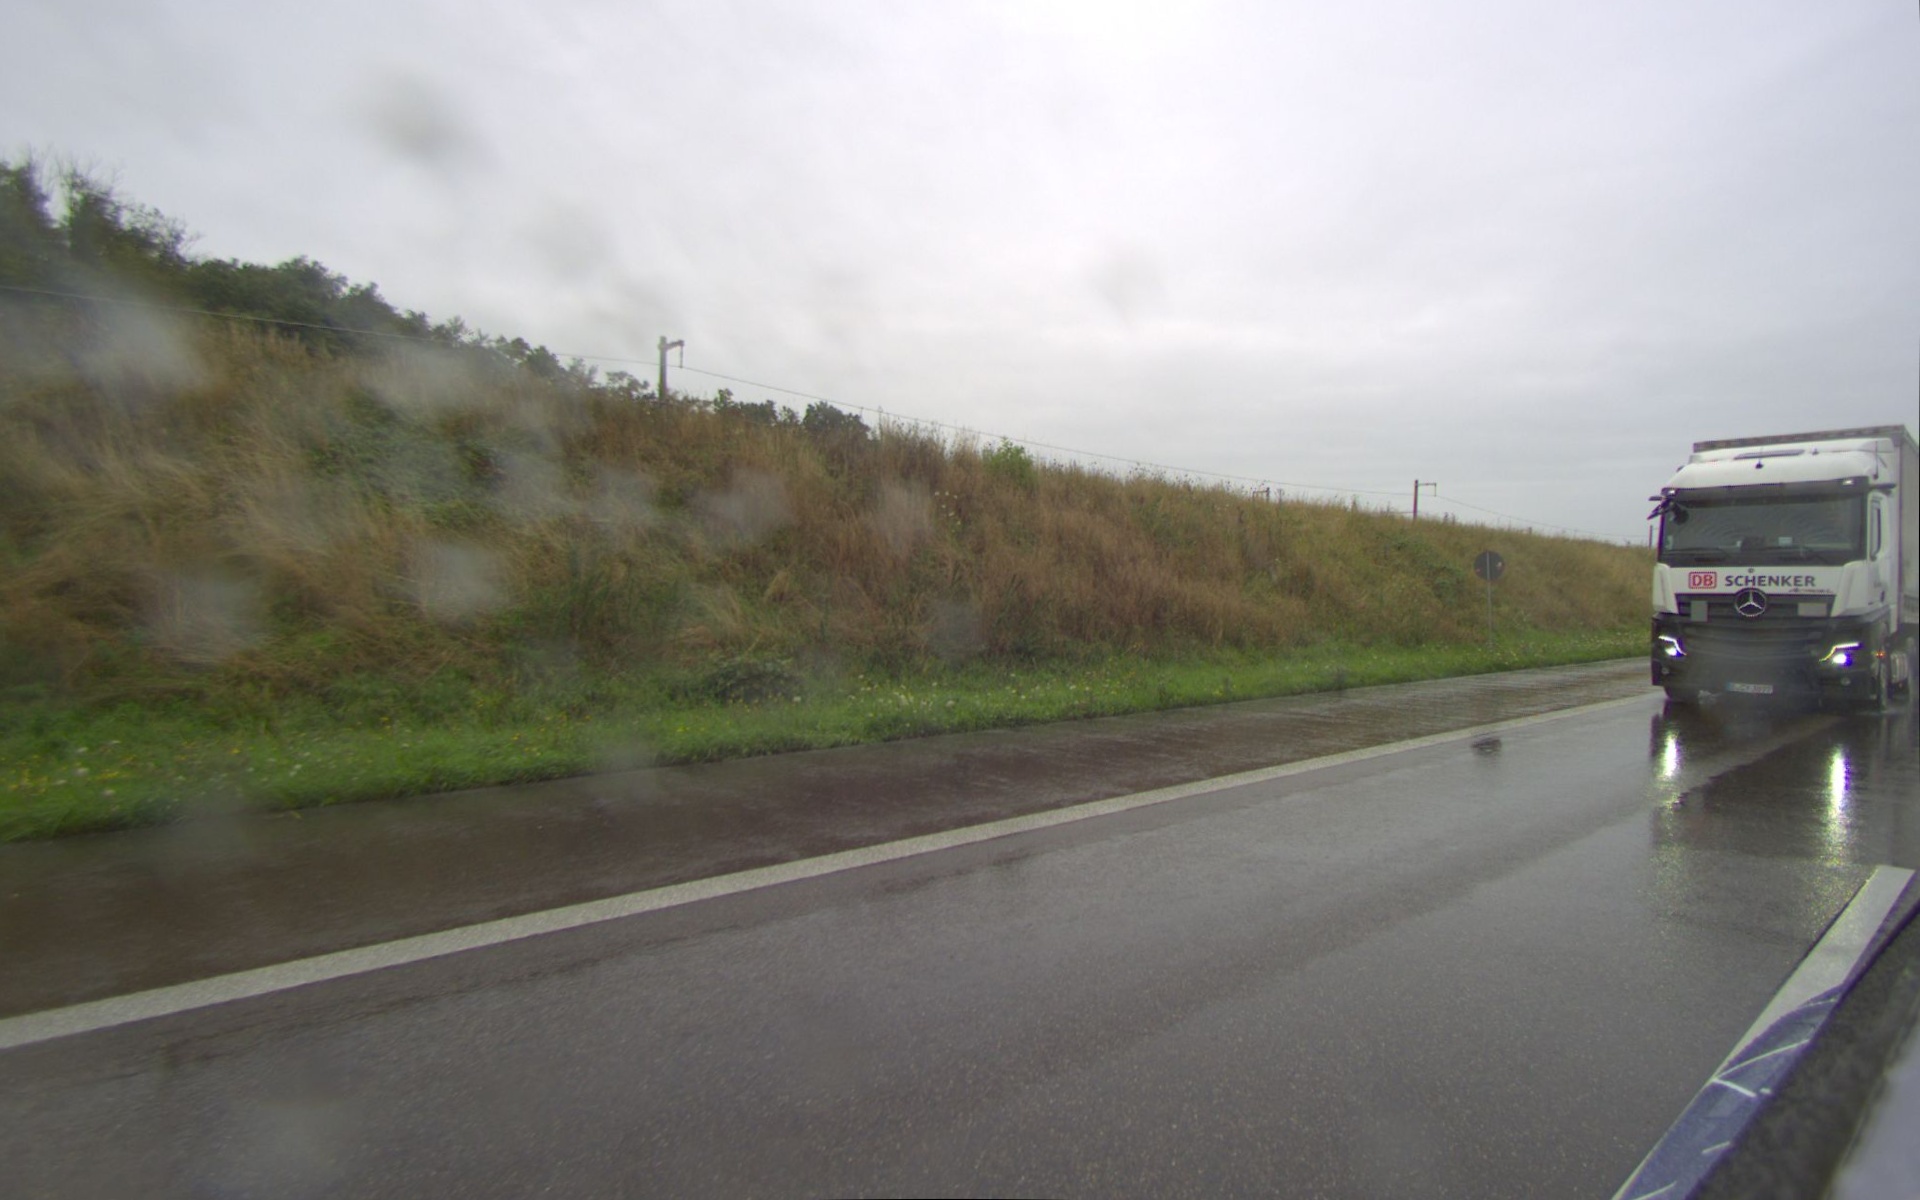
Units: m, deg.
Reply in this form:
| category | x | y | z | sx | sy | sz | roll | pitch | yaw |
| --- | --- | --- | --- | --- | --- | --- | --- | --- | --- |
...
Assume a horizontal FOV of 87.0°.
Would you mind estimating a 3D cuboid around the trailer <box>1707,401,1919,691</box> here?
| category | x | y | z | sx | sy | sz | roll | pitch | yaw |
| --- | --- | --- | --- | --- | --- | --- | --- | --- | --- |
| trailer | 18.648 | -0.875 | 20.637 | 13.930 | 4.302 | 2.631 | -1 | 0 | -41 |

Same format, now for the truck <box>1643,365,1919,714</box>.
| category | x | y | z | sx | sy | sz | roll | pitch | yaw |
| --- | --- | --- | --- | --- | --- | --- | --- | --- | --- |
| truck | 12.470 | -0.781 | 15.130 | 4.957 | 4.307 | 2.630 | 0 | 0 | -42 |
